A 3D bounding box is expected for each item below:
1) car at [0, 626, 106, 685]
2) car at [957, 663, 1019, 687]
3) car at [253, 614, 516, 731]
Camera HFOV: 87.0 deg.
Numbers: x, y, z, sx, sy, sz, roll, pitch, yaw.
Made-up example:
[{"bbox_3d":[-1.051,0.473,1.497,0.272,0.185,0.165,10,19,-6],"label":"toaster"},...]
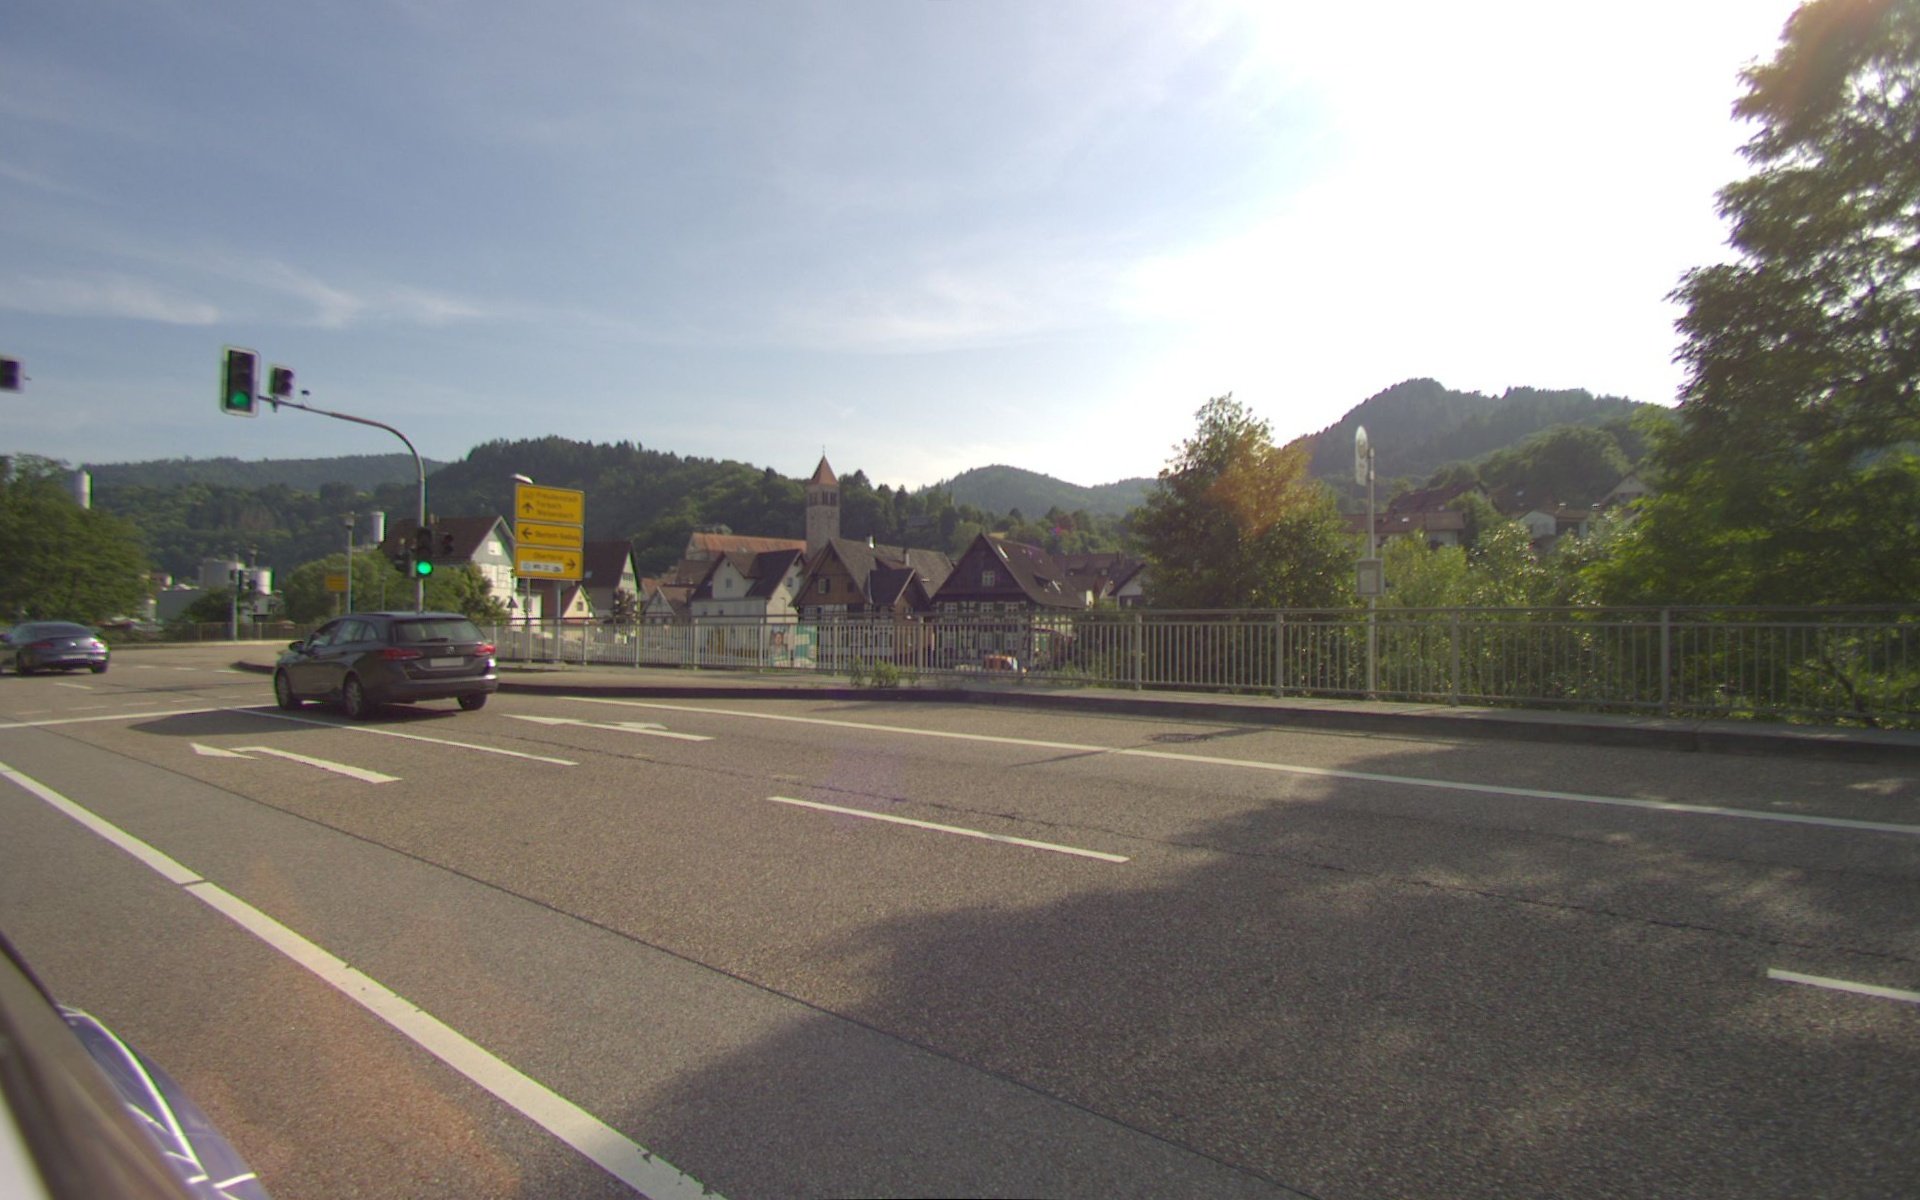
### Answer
[{"bbox_3d":[-24.714,1.441,27.111,4.635,1.388,1.755,-1,0,36],"label":"car"},{"bbox_3d":[2.087,5.703,77.038,4.518,1.705,1.484,-1,-2,25],"label":"car"},{"bbox_3d":[-8.677,0.974,15.077,4.748,1.490,1.768,-1,-2,38],"label":"car"}]
